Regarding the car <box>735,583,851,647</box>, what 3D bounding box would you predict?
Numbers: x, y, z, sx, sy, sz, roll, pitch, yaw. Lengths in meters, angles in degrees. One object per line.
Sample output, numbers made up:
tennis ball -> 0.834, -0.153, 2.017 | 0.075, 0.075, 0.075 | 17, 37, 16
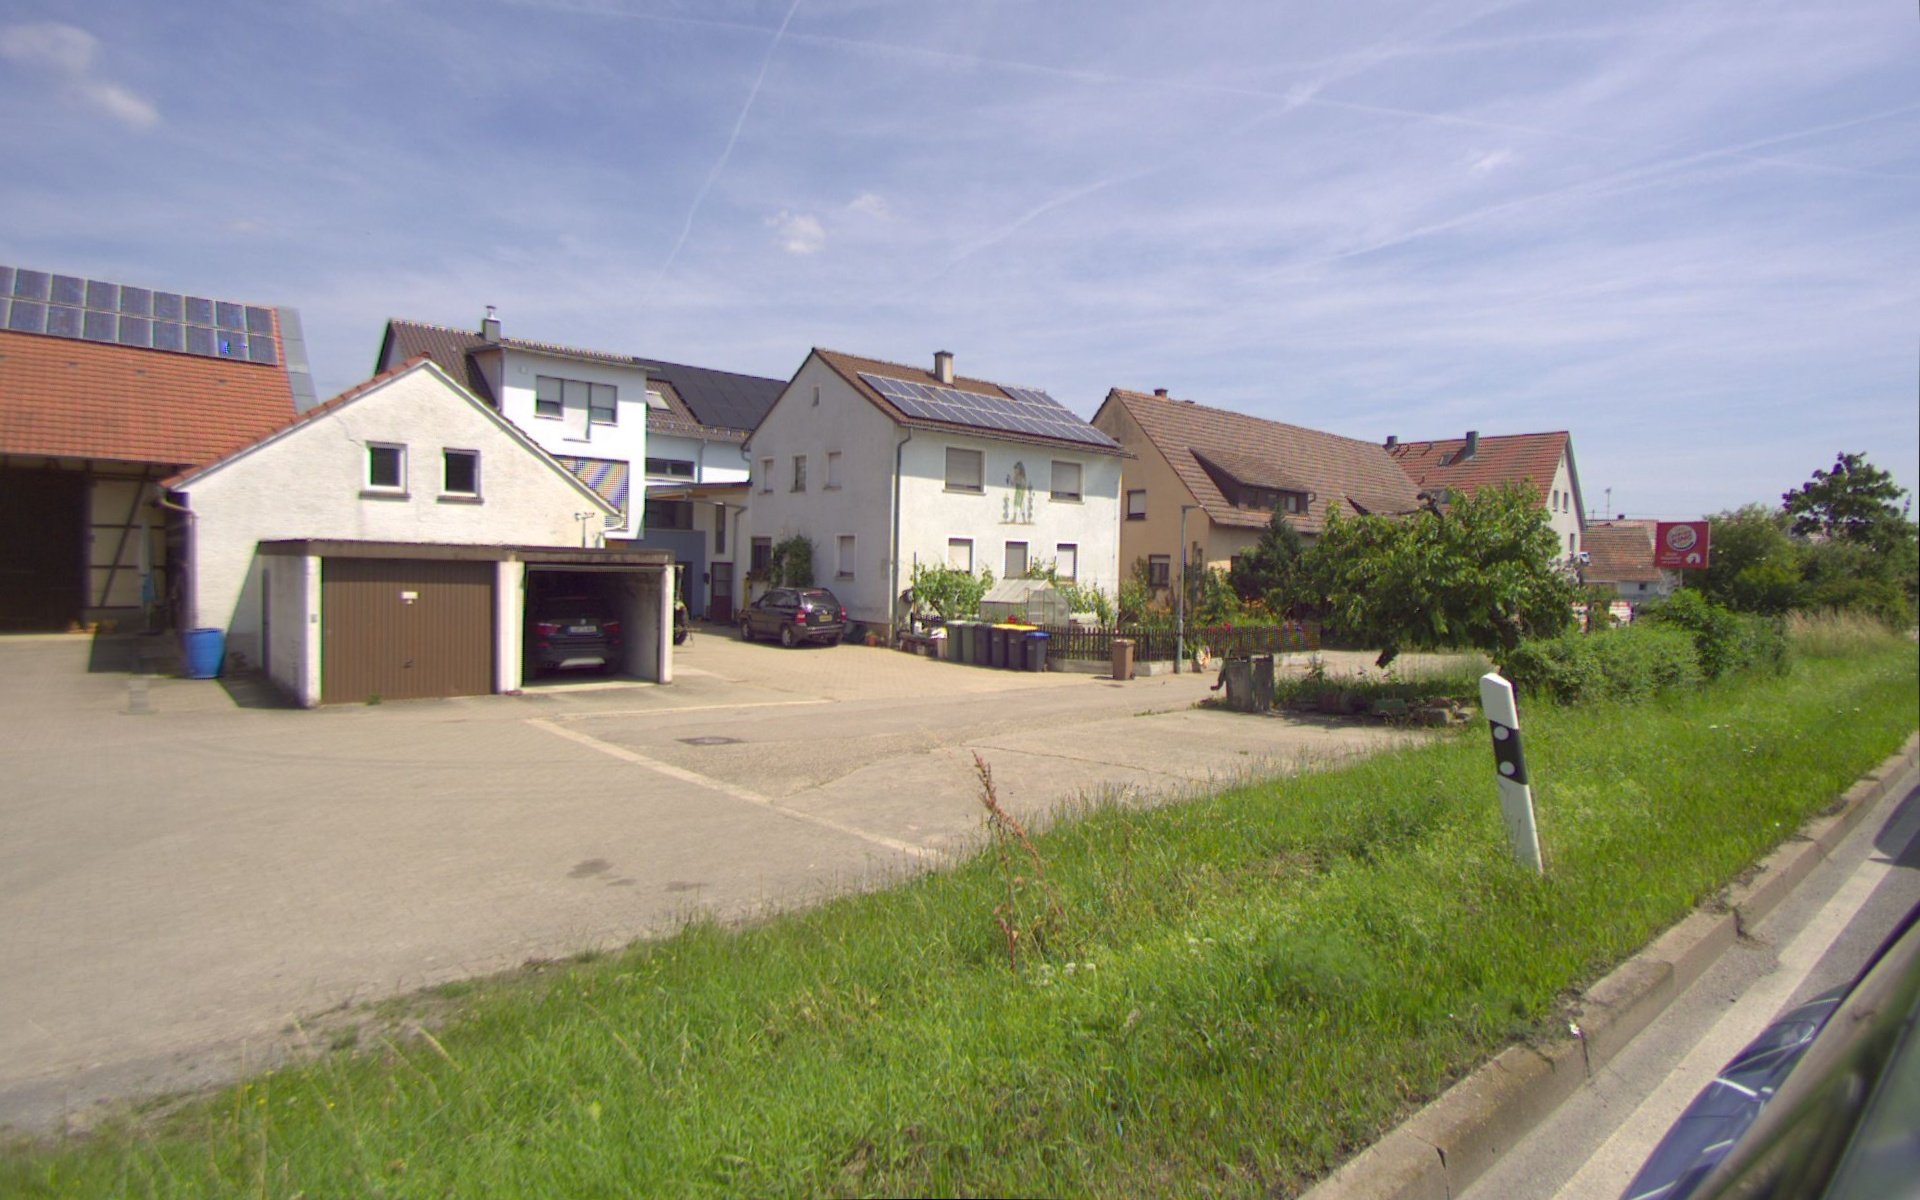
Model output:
car -> -5.116, 0.383, 30.661 | 1.810, 1.714, 3.959 | -1, 3, -38

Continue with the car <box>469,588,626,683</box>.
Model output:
car -> -8.308, 0.612, 20.210 | 1.802, 1.597, 3.996 | -1, 2, -40

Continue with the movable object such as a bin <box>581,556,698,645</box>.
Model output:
movable object such as a bin -> -9.358, -0.031, 29.392 | 2.041, 2.372, 3.720 | 2, 1, -38
